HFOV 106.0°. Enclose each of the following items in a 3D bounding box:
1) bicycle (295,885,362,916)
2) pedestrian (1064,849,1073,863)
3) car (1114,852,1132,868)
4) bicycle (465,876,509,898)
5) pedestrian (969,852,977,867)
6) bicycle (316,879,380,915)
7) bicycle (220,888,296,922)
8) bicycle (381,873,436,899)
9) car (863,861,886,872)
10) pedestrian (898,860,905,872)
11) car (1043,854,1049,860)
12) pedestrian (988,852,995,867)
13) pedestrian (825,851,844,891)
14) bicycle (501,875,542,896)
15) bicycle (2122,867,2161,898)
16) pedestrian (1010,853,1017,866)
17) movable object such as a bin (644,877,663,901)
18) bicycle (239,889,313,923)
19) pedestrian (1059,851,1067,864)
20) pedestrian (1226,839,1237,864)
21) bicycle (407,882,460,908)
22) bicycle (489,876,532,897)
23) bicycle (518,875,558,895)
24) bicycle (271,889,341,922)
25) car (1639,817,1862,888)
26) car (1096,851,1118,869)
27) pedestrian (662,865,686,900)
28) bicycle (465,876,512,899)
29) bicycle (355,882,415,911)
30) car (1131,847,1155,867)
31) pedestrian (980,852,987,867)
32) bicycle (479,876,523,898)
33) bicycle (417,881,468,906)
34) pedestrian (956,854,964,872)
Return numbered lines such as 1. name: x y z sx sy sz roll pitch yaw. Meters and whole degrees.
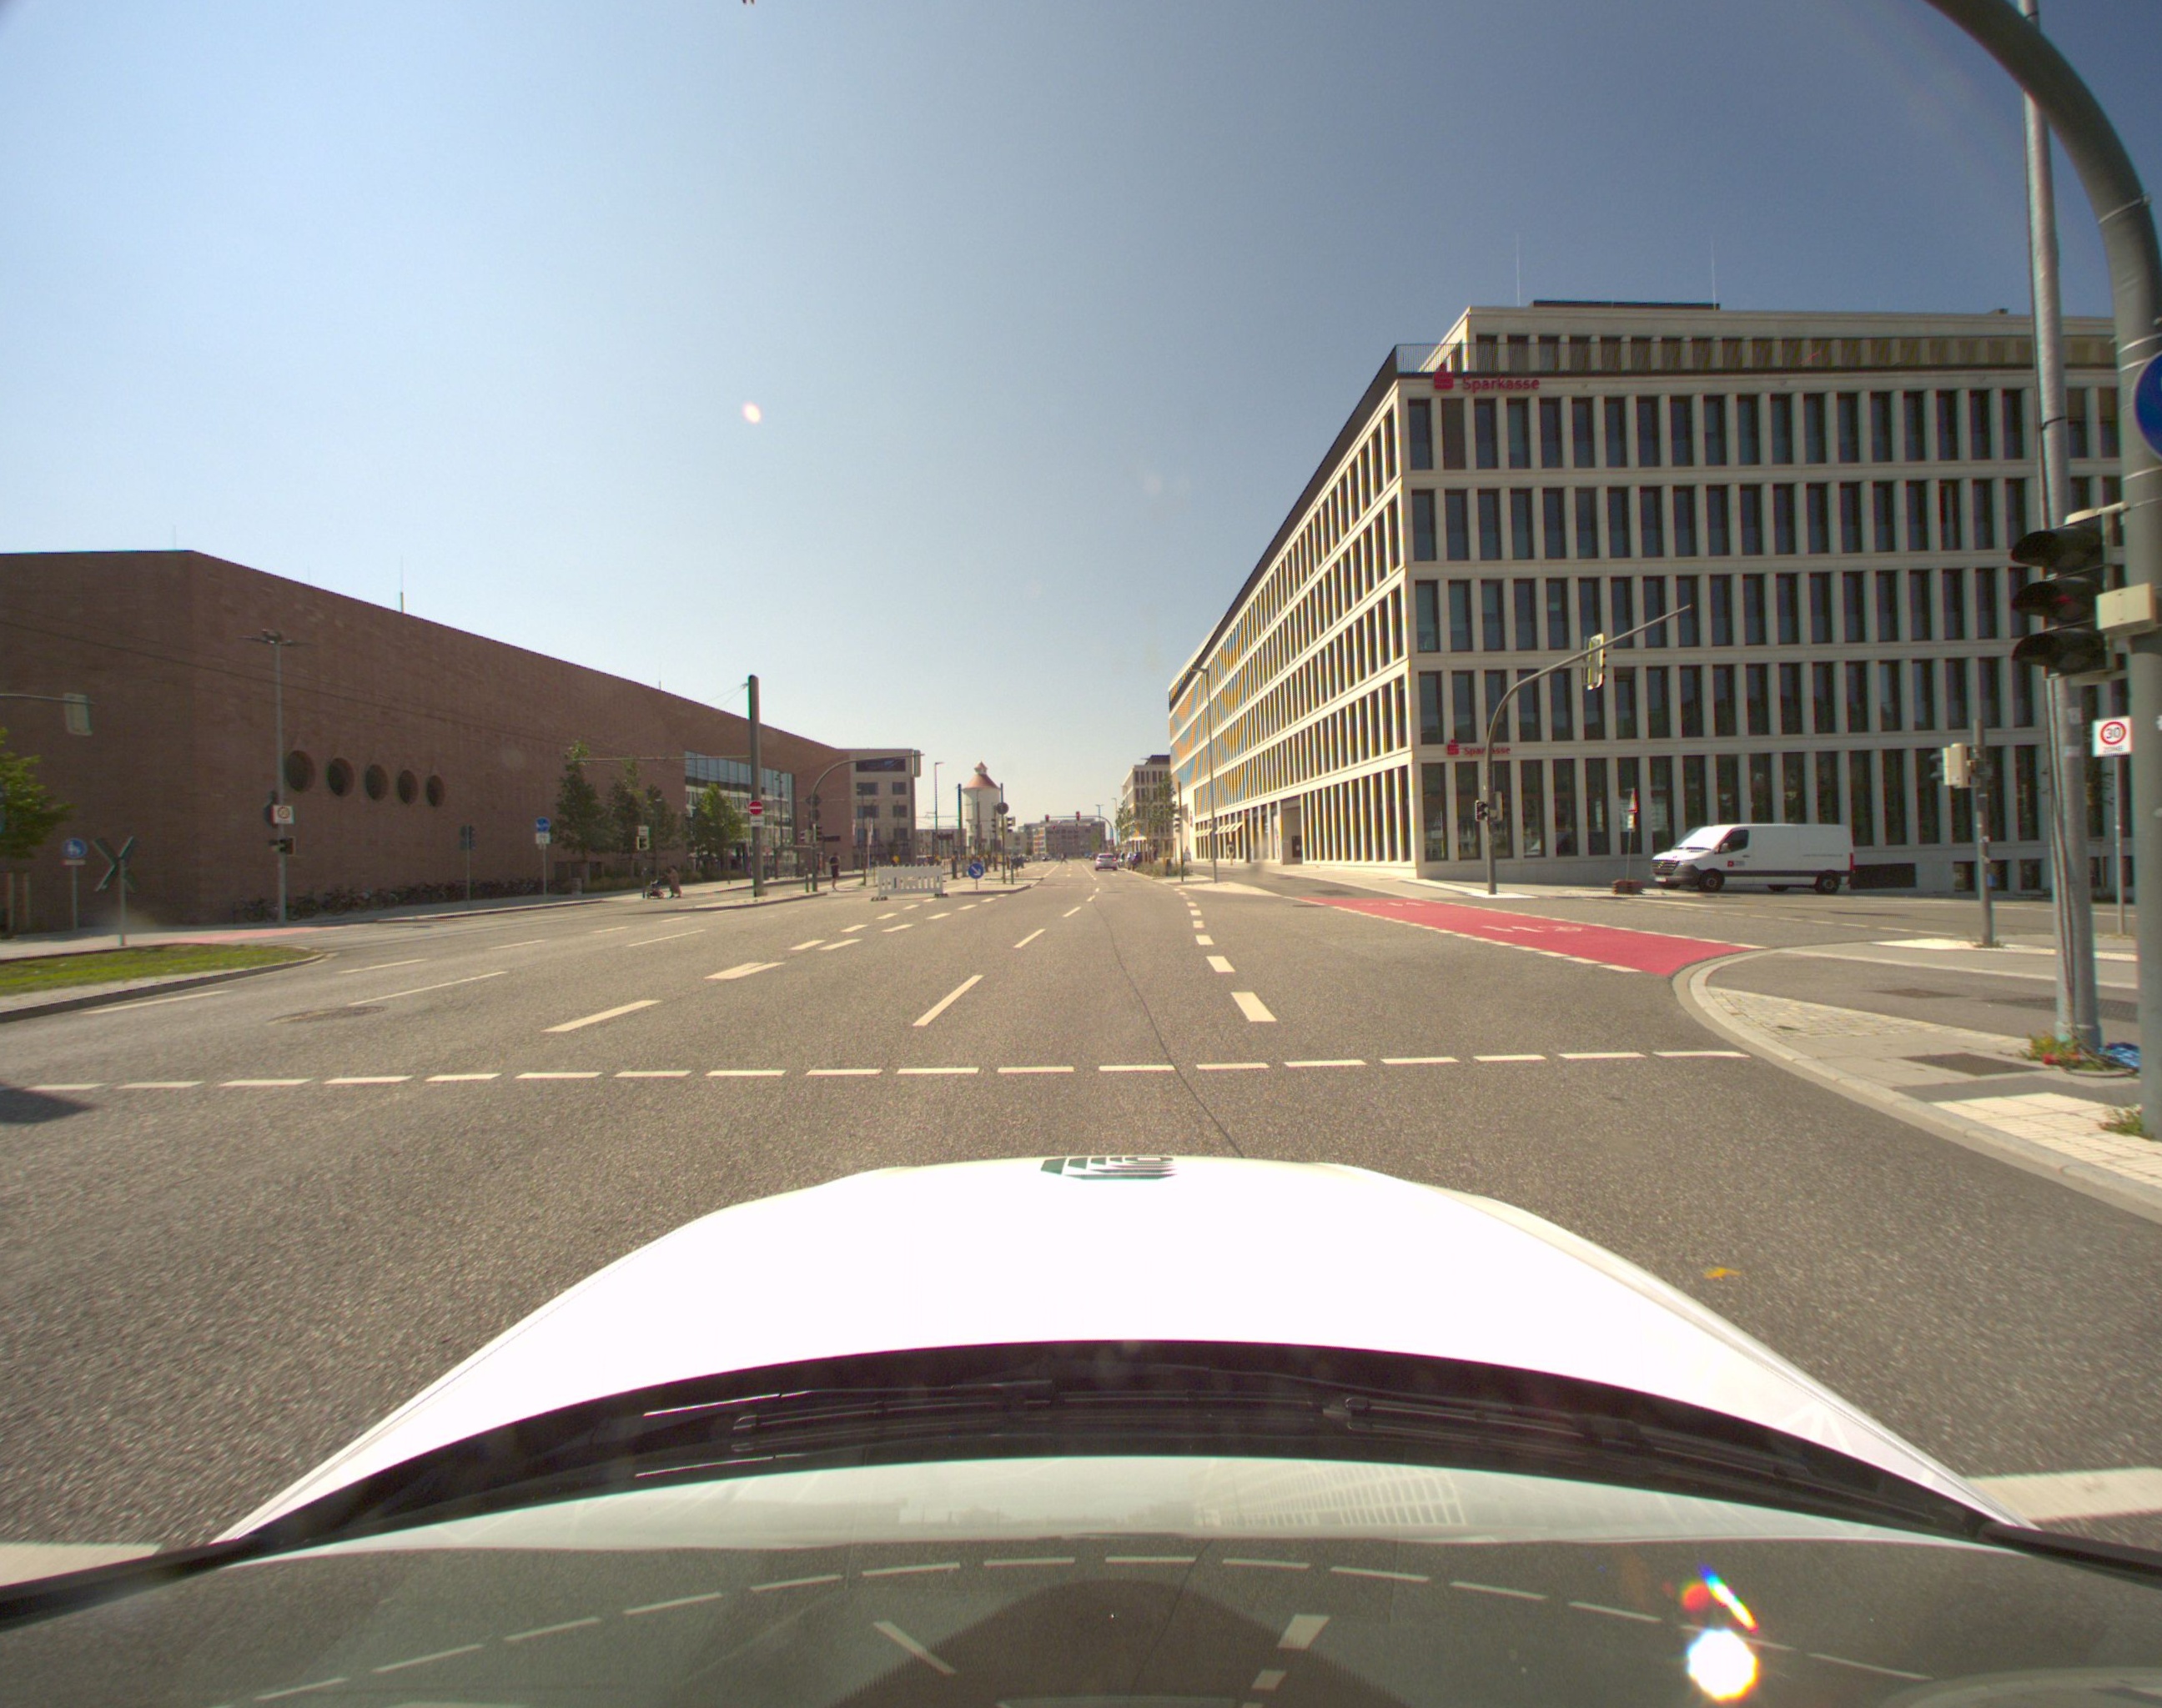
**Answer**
1. bicycle: -31.811 1.956 34.432 2.053 1.212 0.537 -1 0 -13
2. pedestrian: -1.743 0.282 113.356 1.023 2.013 0.948 -2 0 -19
3. car: 4.125 0.582 80.494 1.551 1.472 3.469 -2 0 -1
4. bicycle: -34.136 1.902 46.832 1.882 1.212 0.745 -1 0 -8
5. pedestrian: -13.710 0.681 103.266 0.886 1.890 0.690 -2 0 -6
6. bicycle: -32.006 1.880 35.590 2.052 1.453 0.537 -1 0 -12
7. bicycle: -31.238 1.927 30.938 2.052 1.212 0.537 -2 0 -12
8. bicycle: -32.966 1.556 39.955 2.052 1.212 0.537 -1 0 -12
9. car: -36.999 2.214 146.141 3.945 1.816 1.790 -1 -1 -13
10. pedestrian: -24.228 1.594 109.646 0.709 1.571 0.890 -2 0 -1
11. car: -9.191 0.806 214.643 1.582 1.530 3.690 -1 -1 -2
12. pedestrian: -11.826 0.760 107.141 0.764 1.890 0.692 -2 0 0
13. pedestrian: -11.708 0.797 38.658 0.650 1.833 0.662 -1 0 4
14. bicycle: -34.759 1.930 50.615 2.052 1.212 0.537 -1 0 -12
15. bicycle: 37.238 0.985 27.894 0.705 0.992 1.988 -1 0 3
16. pedestrian: -9.073 0.791 109.517 0.764 1.734 0.692 -2 0 0
17. movable object such as a bin: -19.798 1.610 37.740 0.716 1.031 0.787 -1 0 -24
18. bicycle: -31.351 2.017 31.742 2.052 1.212 0.537 -1 0 -12
19. pedestrian: -2.497 0.484 112.586 0.896 1.674 1.007 -2 0 -19
20. pedestrian: 11.100 -0.185 60.151 0.626 1.742 0.814 -2 0 -1
21. bicycle: -32.932 2.074 41.454 2.052 1.212 0.537 -1 0 -12
22. bicycle: -34.635 1.973 49.489 2.052 1.212 0.537 -1 0 -12
23. bicycle: -34.644 1.981 51.958 2.052 1.212 0.537 -1 0 -12
24. bicycle: -31.429 2.089 33.029 2.052 1.212 0.537 -1 0 -12
25. car: 22.441 -0.037 27.455 5.819 2.270 2.146 0 0 -1
26. car: 2.173 0.519 67.897 1.765 1.395 3.532 0 -1 1
27. pedestrian: -19.045 1.316 38.081 0.934 1.562 0.787 -1 0 -24
28. bicycle: -33.445 1.899 45.966 2.052 1.212 0.537 -1 0 -12
29. bicycle: -32.187 1.960 37.684 2.052 1.212 0.537 -1 0 -12
30. car: 4.918 0.236 65.085 1.729 1.474 3.983 -1 0 3
31. pedestrian: -12.463 0.663 104.014 0.886 1.890 0.690 -2 0 -6
32. bicycle: -34.531 1.983 48.485 2.052 1.212 0.537 -1 0 -12
33. bicycle: -33.610 2.074 42.863 2.052 1.212 0.537 -1 0 -12
34. pedestrian: -12.827 0.945 86.617 0.666 1.820 0.717 -1 0 -24
